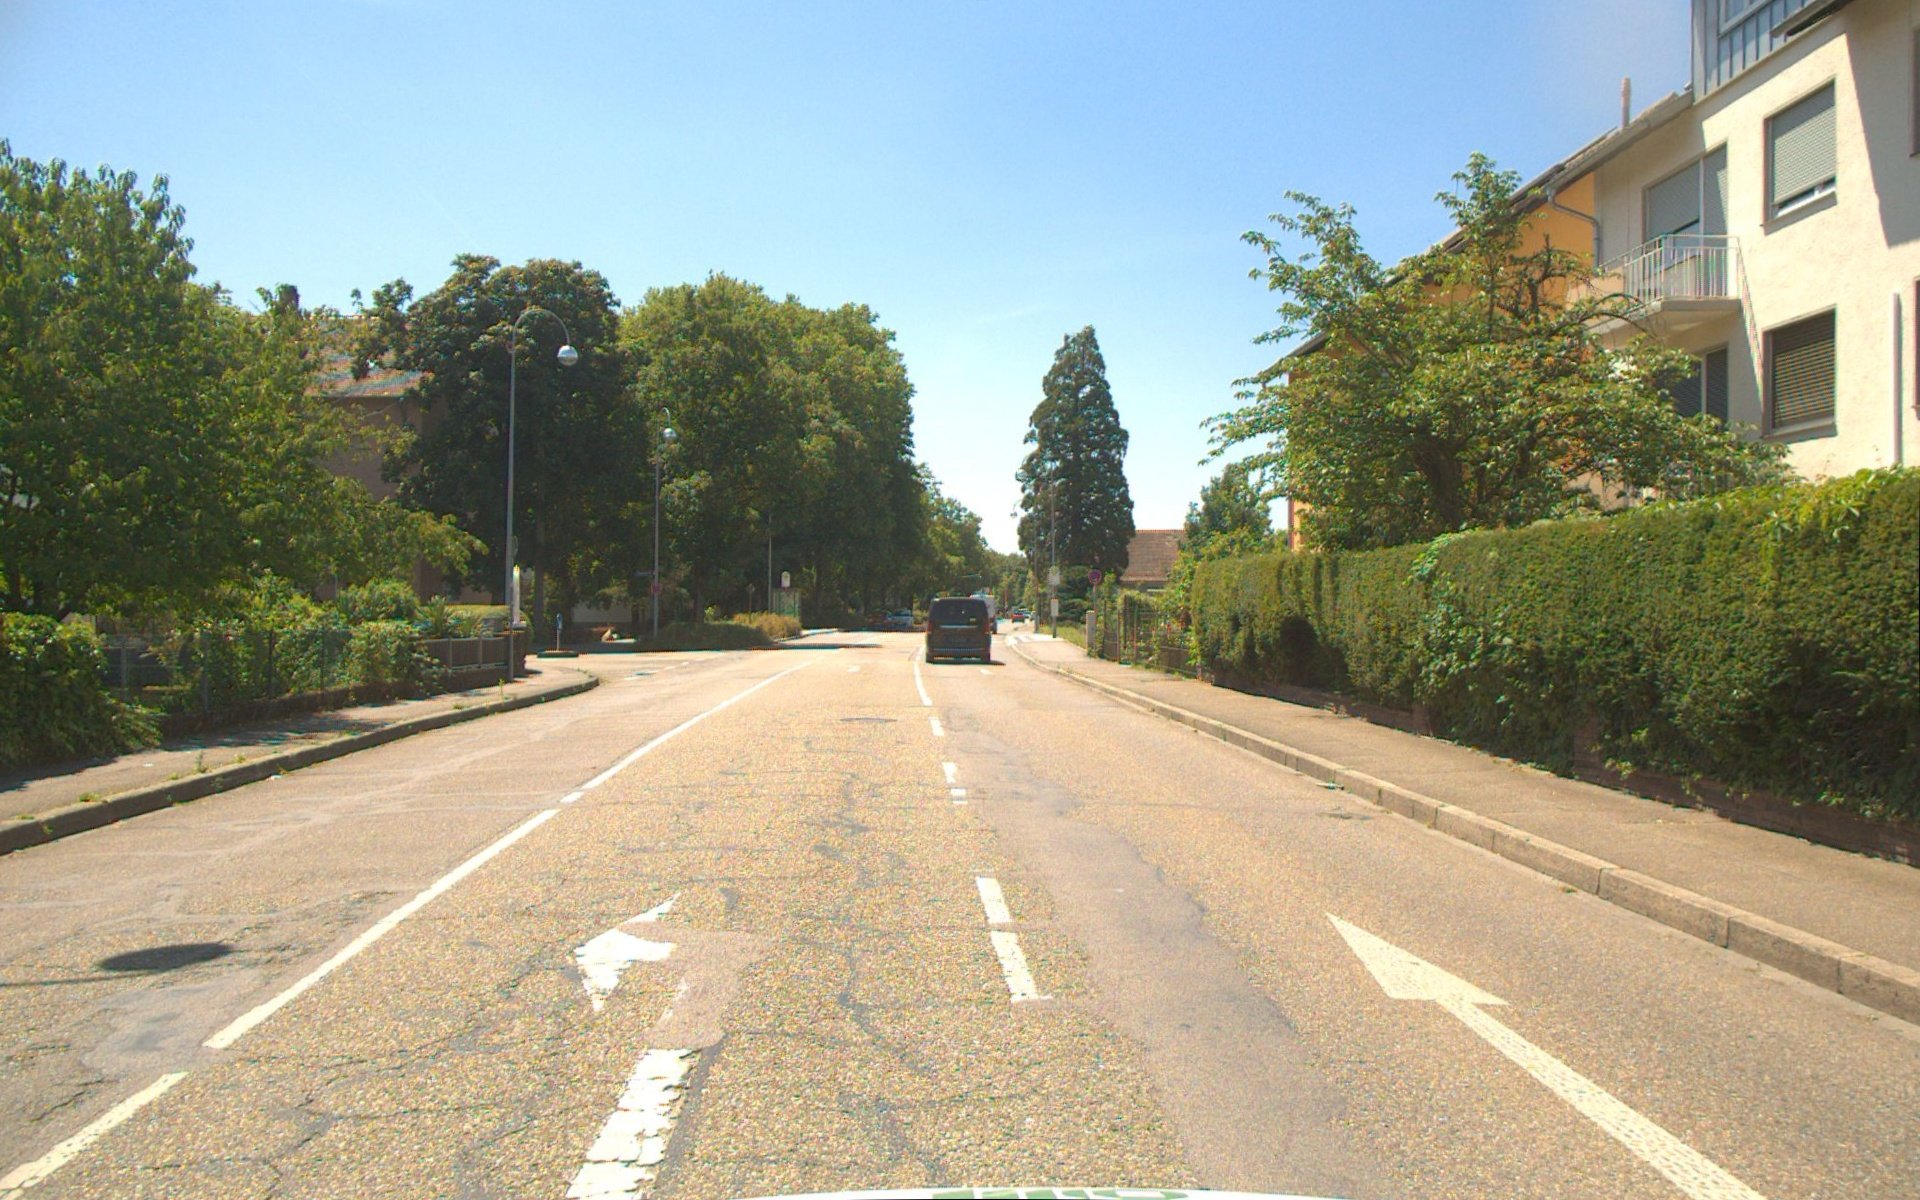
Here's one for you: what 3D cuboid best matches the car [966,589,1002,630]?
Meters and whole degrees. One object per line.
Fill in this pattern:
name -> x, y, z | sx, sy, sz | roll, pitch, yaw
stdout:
car -> 1.680, 0.633, 113.928 | 2.075, 2.724, 5.665 | 1, 0, 5

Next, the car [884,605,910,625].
car -> -4.894, 1.162, 128.238 | 1.655, 1.485, 3.641 | 2, 0, 3

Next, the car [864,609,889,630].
car -> -6.087, 1.444, 121.034 | 1.518, 1.476, 3.690 | 2, -1, 1

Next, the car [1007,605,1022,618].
car -> 7.470, 1.591, 226.858 | 1.820, 1.671, 4.000 | 2, 0, -1

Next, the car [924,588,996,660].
car -> -0.017, 0.645, 47.649 | 1.953, 1.926, 4.000 | 2, 0, -1
